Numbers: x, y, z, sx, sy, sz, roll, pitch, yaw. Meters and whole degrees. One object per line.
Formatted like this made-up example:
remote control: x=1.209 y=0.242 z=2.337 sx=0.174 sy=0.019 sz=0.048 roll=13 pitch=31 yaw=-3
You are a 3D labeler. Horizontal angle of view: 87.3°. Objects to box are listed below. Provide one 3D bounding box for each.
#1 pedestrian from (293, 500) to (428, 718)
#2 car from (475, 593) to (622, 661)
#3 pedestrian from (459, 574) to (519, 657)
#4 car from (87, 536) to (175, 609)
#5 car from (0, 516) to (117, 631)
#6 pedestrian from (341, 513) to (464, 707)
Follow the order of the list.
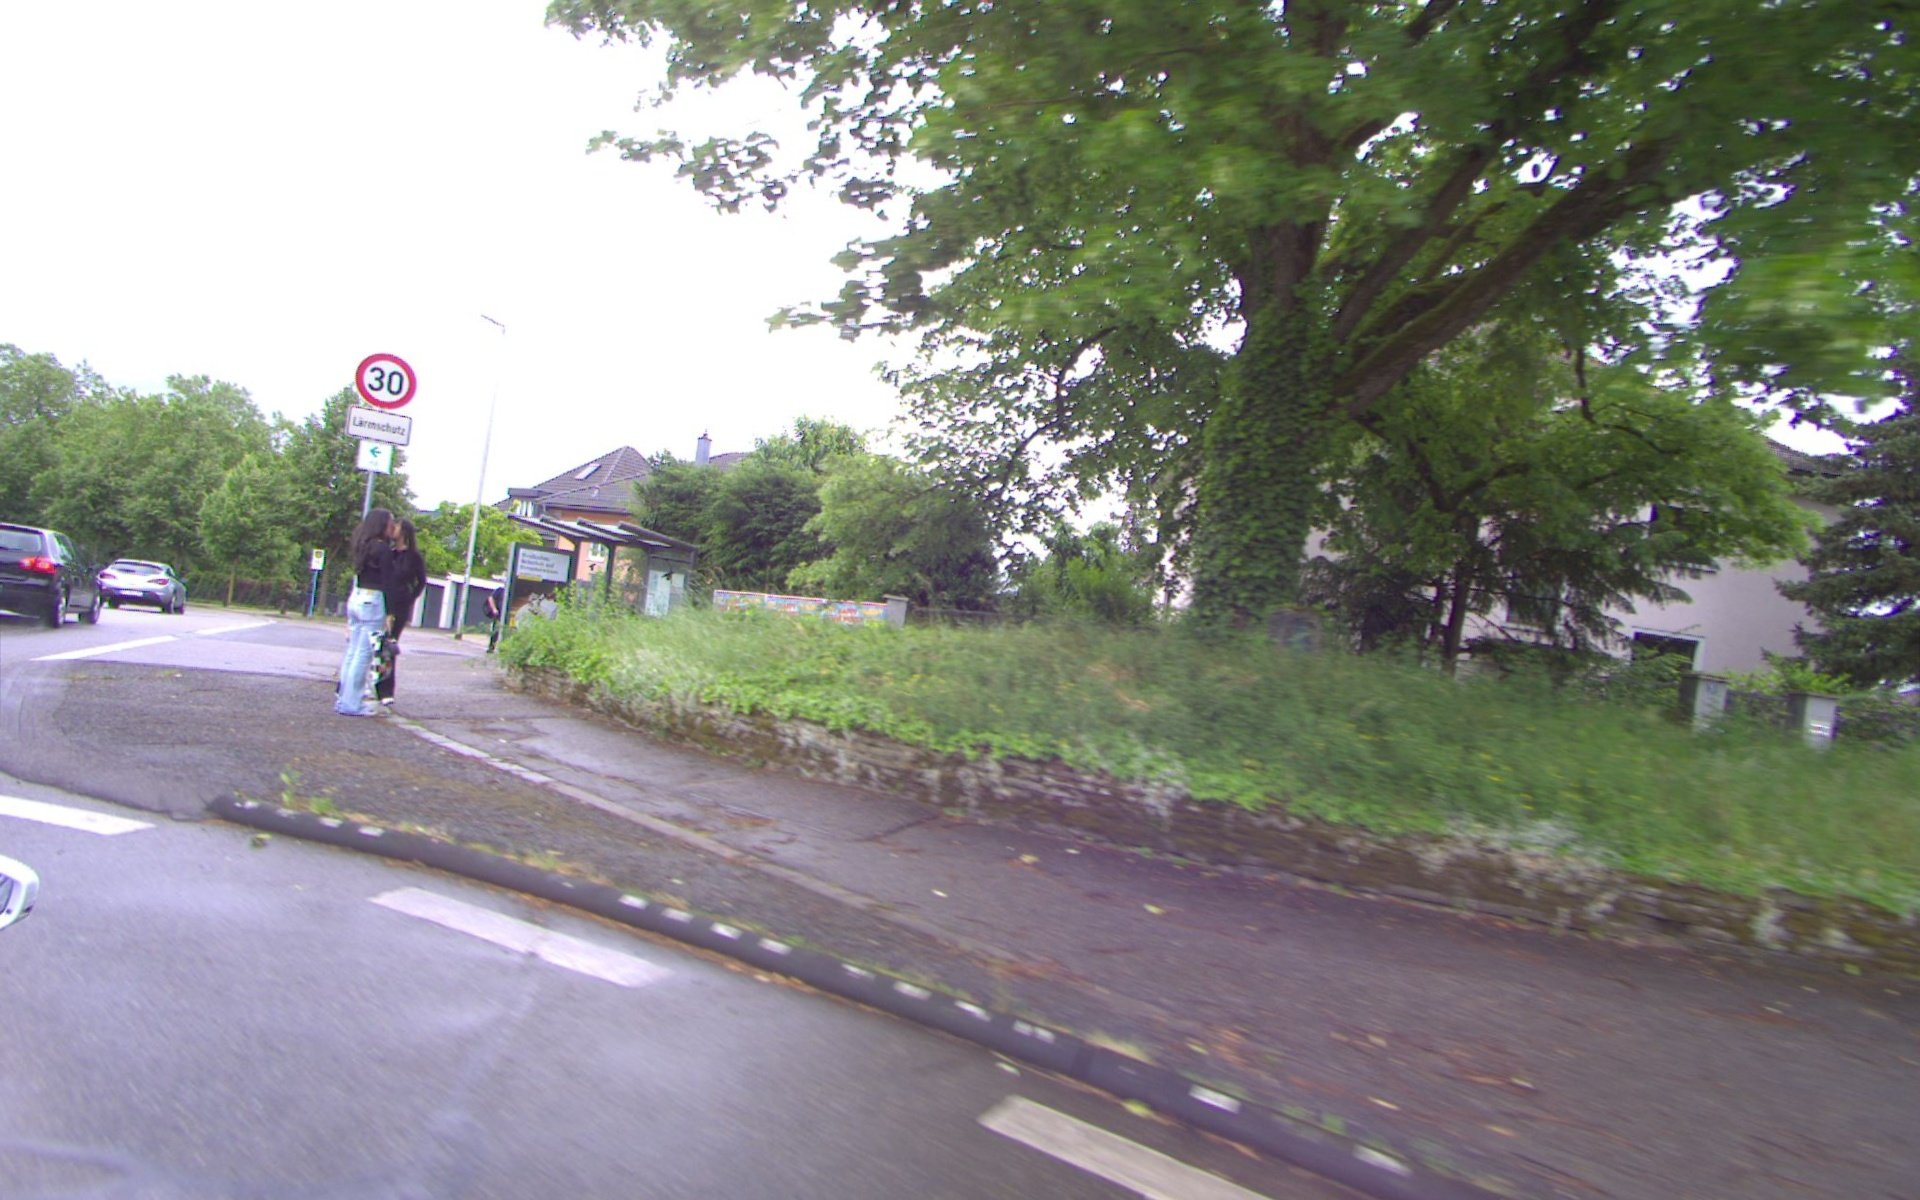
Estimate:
pedestrian: x=-5.087 y=0.086 z=8.575 sx=0.625 sy=1.732 sz=0.529 roll=7 pitch=-2 yaw=-8
car: x=-13.355 y=0.912 z=32.803 sx=1.874 sy=1.650 sz=3.893 roll=5 pitch=-4 yaw=37
pedestrian: x=-10.401 y=0.348 z=22.262 sx=0.998 sy=1.715 sz=0.953 roll=5 pitch=-2 yaw=-21
car: x=-24.379 y=-0.734 z=29.683 sx=1.756 sy=1.821 sz=4.206 roll=7 pitch=-5 yaw=-38
car: x=-14.880 y=-0.482 z=15.920 sx=1.754 sy=1.556 sz=3.966 roll=8 pitch=-3 yaw=-33
pedestrian: x=-5.266 y=0.110 z=9.525 sx=0.520 sy=1.732 sz=0.636 roll=6 pitch=-2 yaw=22
